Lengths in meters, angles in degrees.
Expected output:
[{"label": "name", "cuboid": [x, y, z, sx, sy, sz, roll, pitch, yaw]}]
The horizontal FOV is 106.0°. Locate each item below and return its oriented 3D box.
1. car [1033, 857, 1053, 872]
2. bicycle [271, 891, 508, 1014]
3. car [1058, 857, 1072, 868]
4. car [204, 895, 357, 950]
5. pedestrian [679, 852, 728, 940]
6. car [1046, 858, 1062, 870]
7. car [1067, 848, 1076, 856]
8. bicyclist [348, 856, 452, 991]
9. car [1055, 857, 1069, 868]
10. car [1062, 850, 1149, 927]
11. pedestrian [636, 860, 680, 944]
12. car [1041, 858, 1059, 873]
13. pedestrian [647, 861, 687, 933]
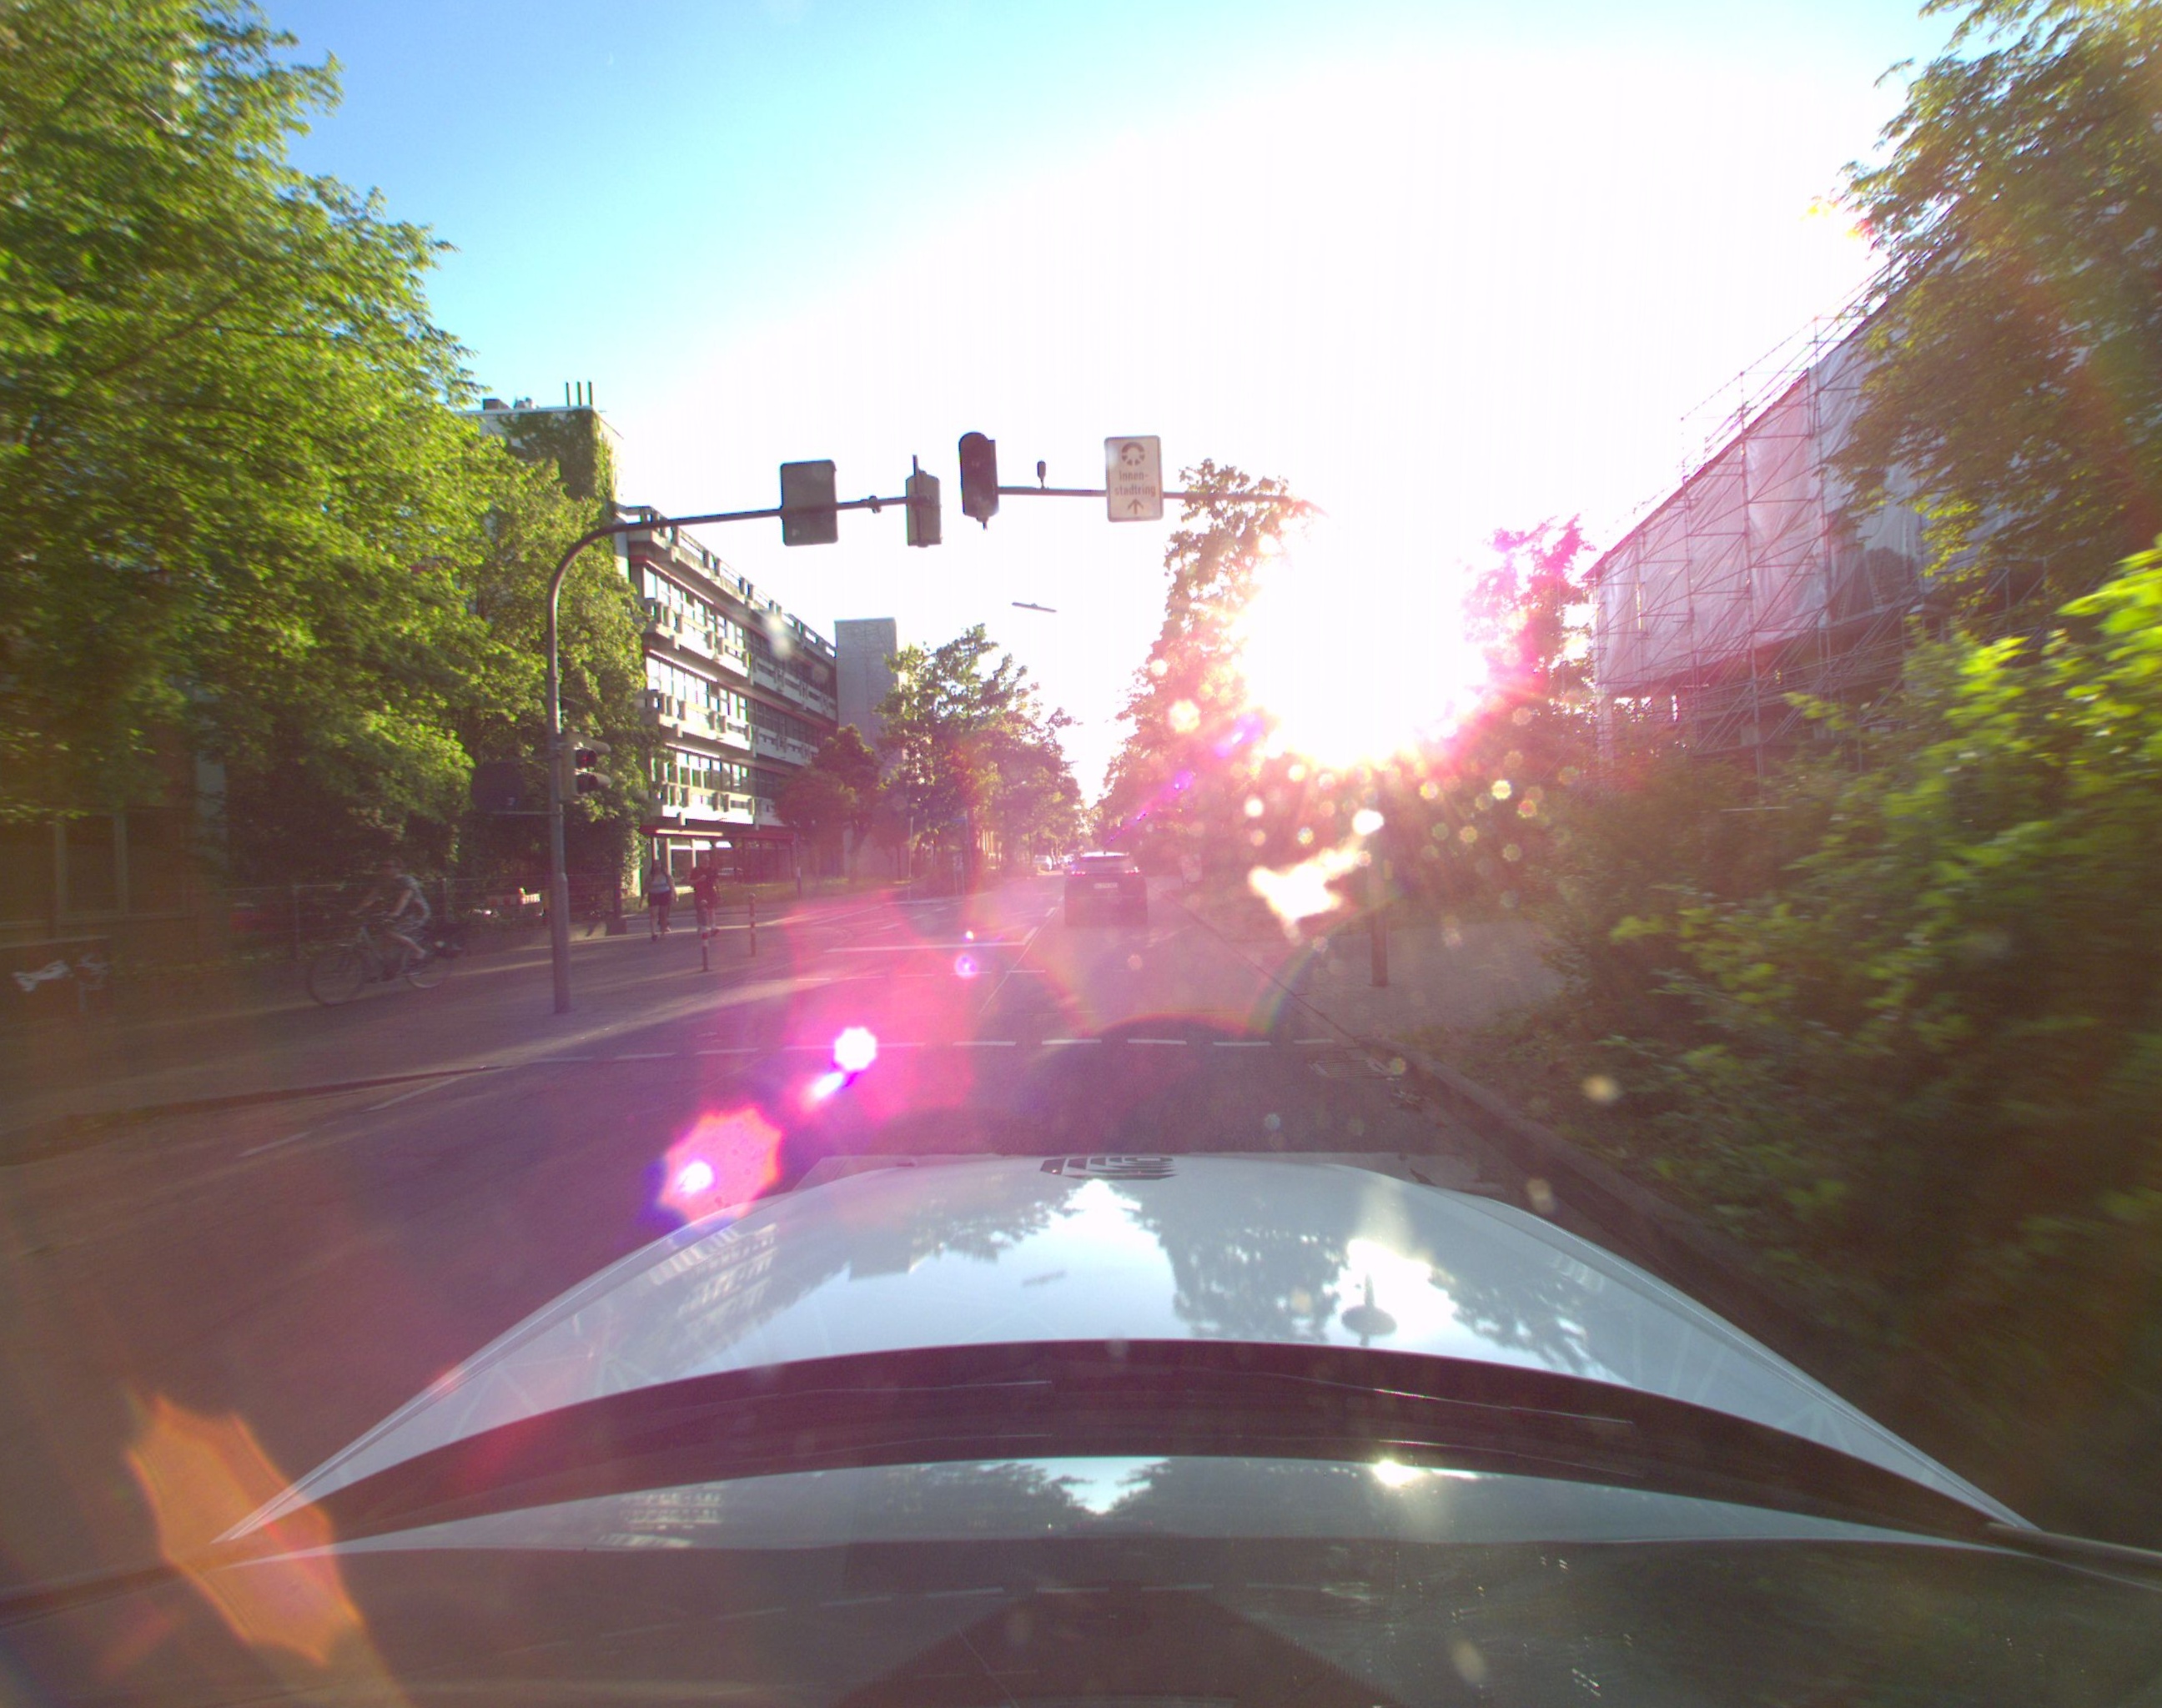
[{"label": "car", "cuboid": [-3.684, 0.982, 77.837, 1.806, 1.354, 3.995, -3, 0, -4]}, {"label": "bicycle", "cuboid": [-8.512, 1.151, 10.183, 0.681, 1.249, 2.202, -2, 0, 17]}, {"label": "car", "cuboid": [-2.361, 1.202, 117.918, 1.806, 1.354, 3.975, -3, 0, -2]}, {"label": "car", "cuboid": [-25.476, 2.152, 26.009, 3.263, 1.457, 1.370, -3, -2, -8]}, {"label": "pedestrian", "cuboid": [-8.262, 0.894, 17.863, 0.823, 1.823, 0.950, -3, 0, -22]}, {"label": "car", "cuboid": [-3.156, 1.158, 95.409, 1.806, 1.354, 3.996, -3, 0, -2]}, {"label": "car", "cuboid": [-2.068, -0.417, 183.027, 1.900, 1.867, 3.950, -2, 0, 1]}, {"label": "bicyclist", "cuboid": [-8.507, 0.847, 10.195, 0.670, 1.603, 0.709, -2, 0, 18]}, {"label": "car", "cuboid": [-2.604, 1.188, 110.369, 1.806, 1.354, 3.996, -3, 0, -2]}, {"label": "car", "cuboid": [0.541, 0.706, 18.296, 1.761, 1.568, 3.381, 0, 0, 1]}, {"label": "pedestrian", "cuboid": [-8.777, 0.973, 16.892, 0.718, 1.662, 0.700, -3, 0, -30]}, {"label": "car", "cuboid": [-3.202, 1.141, 84.076, 1.806, 1.354, 3.996, -3, 0, -2]}, {"label": "pedestrian", "cuboid": [-10.060, 1.033, 19.817, 0.716, 1.662, 0.761, -3, 0, -22]}]
